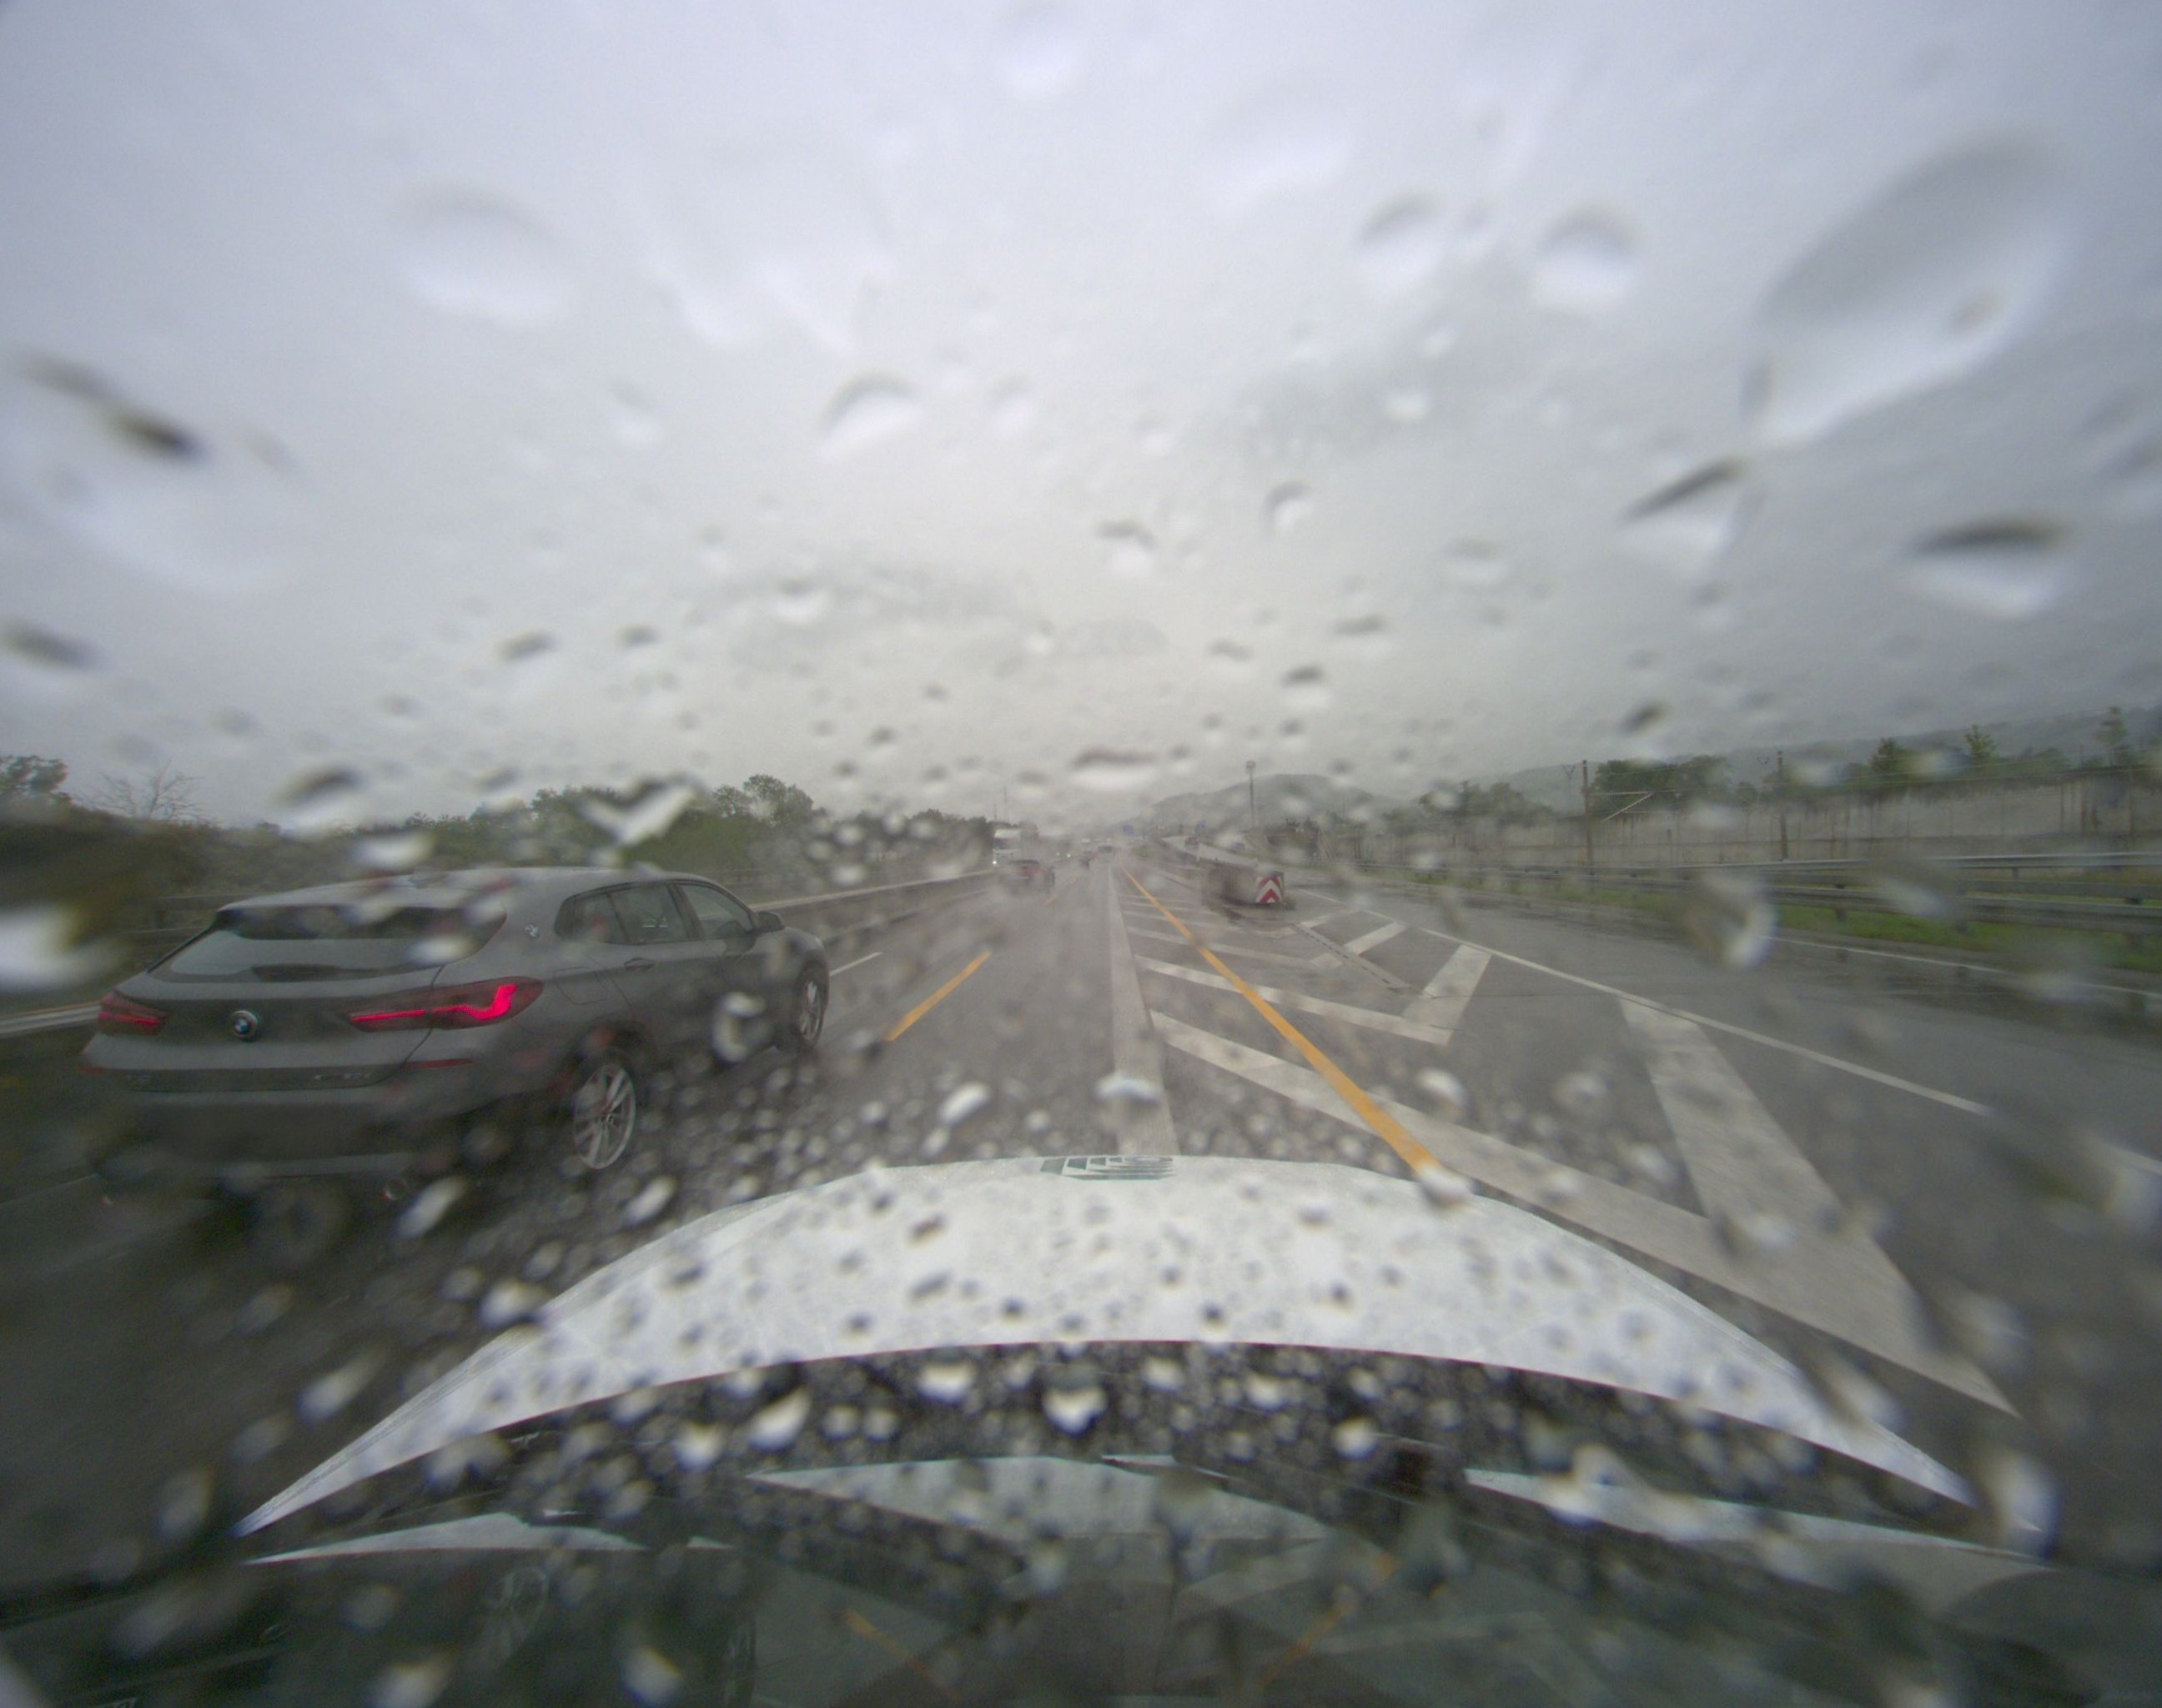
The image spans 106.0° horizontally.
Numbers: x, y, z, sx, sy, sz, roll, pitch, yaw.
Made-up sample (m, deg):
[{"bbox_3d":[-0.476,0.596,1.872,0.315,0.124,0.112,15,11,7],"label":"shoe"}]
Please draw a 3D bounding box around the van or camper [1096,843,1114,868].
[{"bbox_3d":[2.815,0.170,95.014,1.989,2.777,4.051,-1,-1,1],"label":"van or camper"}]

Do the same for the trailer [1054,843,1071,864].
[{"bbox_3d":[-3.635,-0.066,162.738,2.639,4.109,12.321,-1,0,2],"label":"trailer"}]

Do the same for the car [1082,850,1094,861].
[{"bbox_3d":[1.064,0.260,116.939,1.561,1.480,2.822,-4,-1,1],"label":"car"}]

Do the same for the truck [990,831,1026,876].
[{"bbox_3d":[-7.293,-0.001,81.891,2.698,4.277,6.752,-1,-1,2],"label":"truck"}]

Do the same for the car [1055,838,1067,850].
[{"bbox_3d":[-4.879,-2.364,200.435,2.700,2.813,5.098,-1,-1,3],"label":"car"}]

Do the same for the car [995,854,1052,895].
[{"bbox_3d":[-2.204,0.786,32.328,1.837,1.491,4.263,-1,0,1],"label":"car"}]

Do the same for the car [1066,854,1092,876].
[{"bbox_3d":[-0.096,0.836,64.866,1.837,1.491,4.263,-4,1,1],"label":"car"}]

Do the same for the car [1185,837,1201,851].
[{"bbox_3d":[17.850,-1.599,129.890,1.986,2.142,4.001,-1,0,1],"label":"car"}]

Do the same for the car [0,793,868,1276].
[{"bbox_3d":[-2.966,0.663,5.268,1.694,1.598,4.846,-3,-1,2],"label":"car"}]
